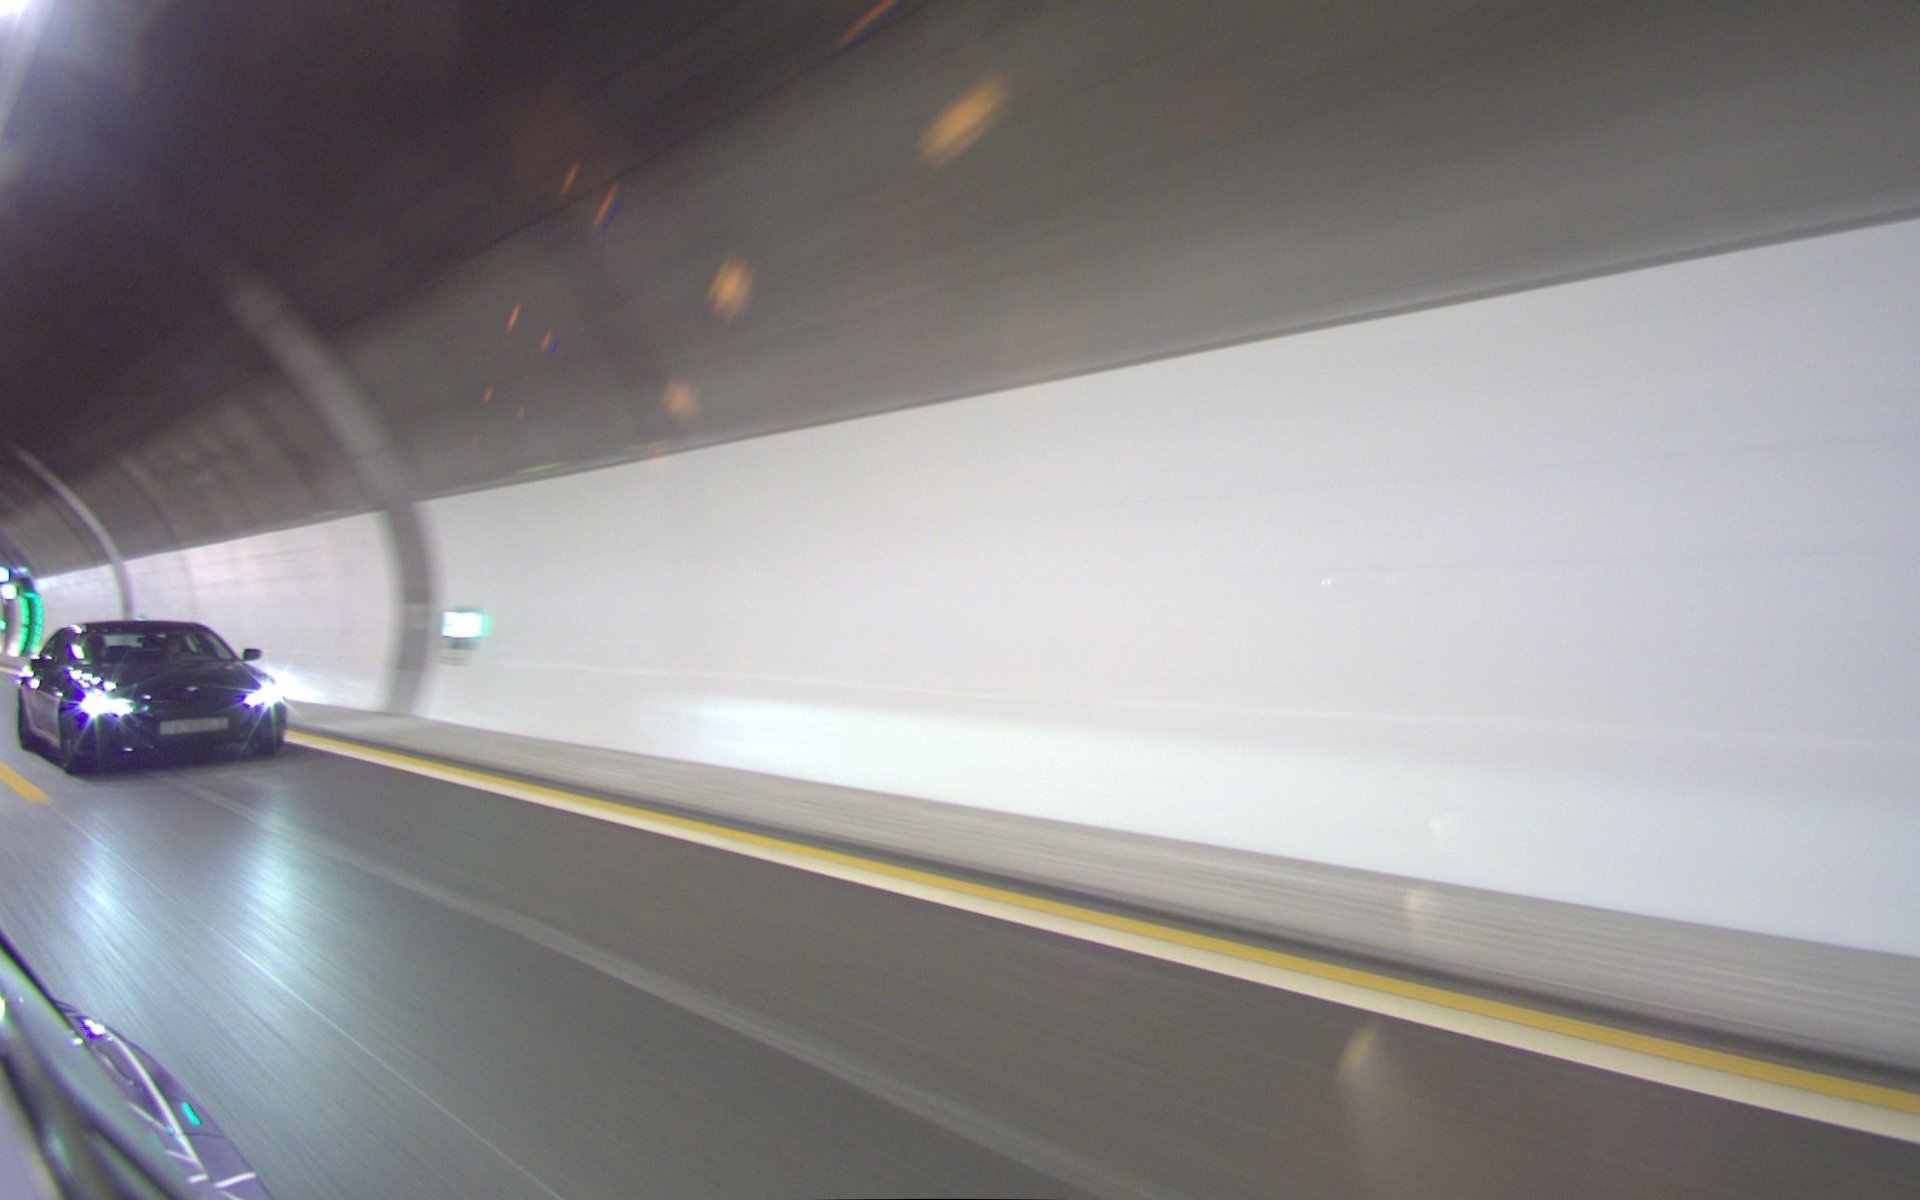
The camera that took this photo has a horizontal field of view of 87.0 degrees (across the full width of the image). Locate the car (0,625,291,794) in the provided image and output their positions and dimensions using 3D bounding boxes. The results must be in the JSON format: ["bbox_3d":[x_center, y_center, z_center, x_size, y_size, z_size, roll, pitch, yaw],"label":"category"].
[{"bbox_3d":[-9.193,1.023,11.229,4.881,1.449,1.759,-1,-1,42],"label":"car"}]
